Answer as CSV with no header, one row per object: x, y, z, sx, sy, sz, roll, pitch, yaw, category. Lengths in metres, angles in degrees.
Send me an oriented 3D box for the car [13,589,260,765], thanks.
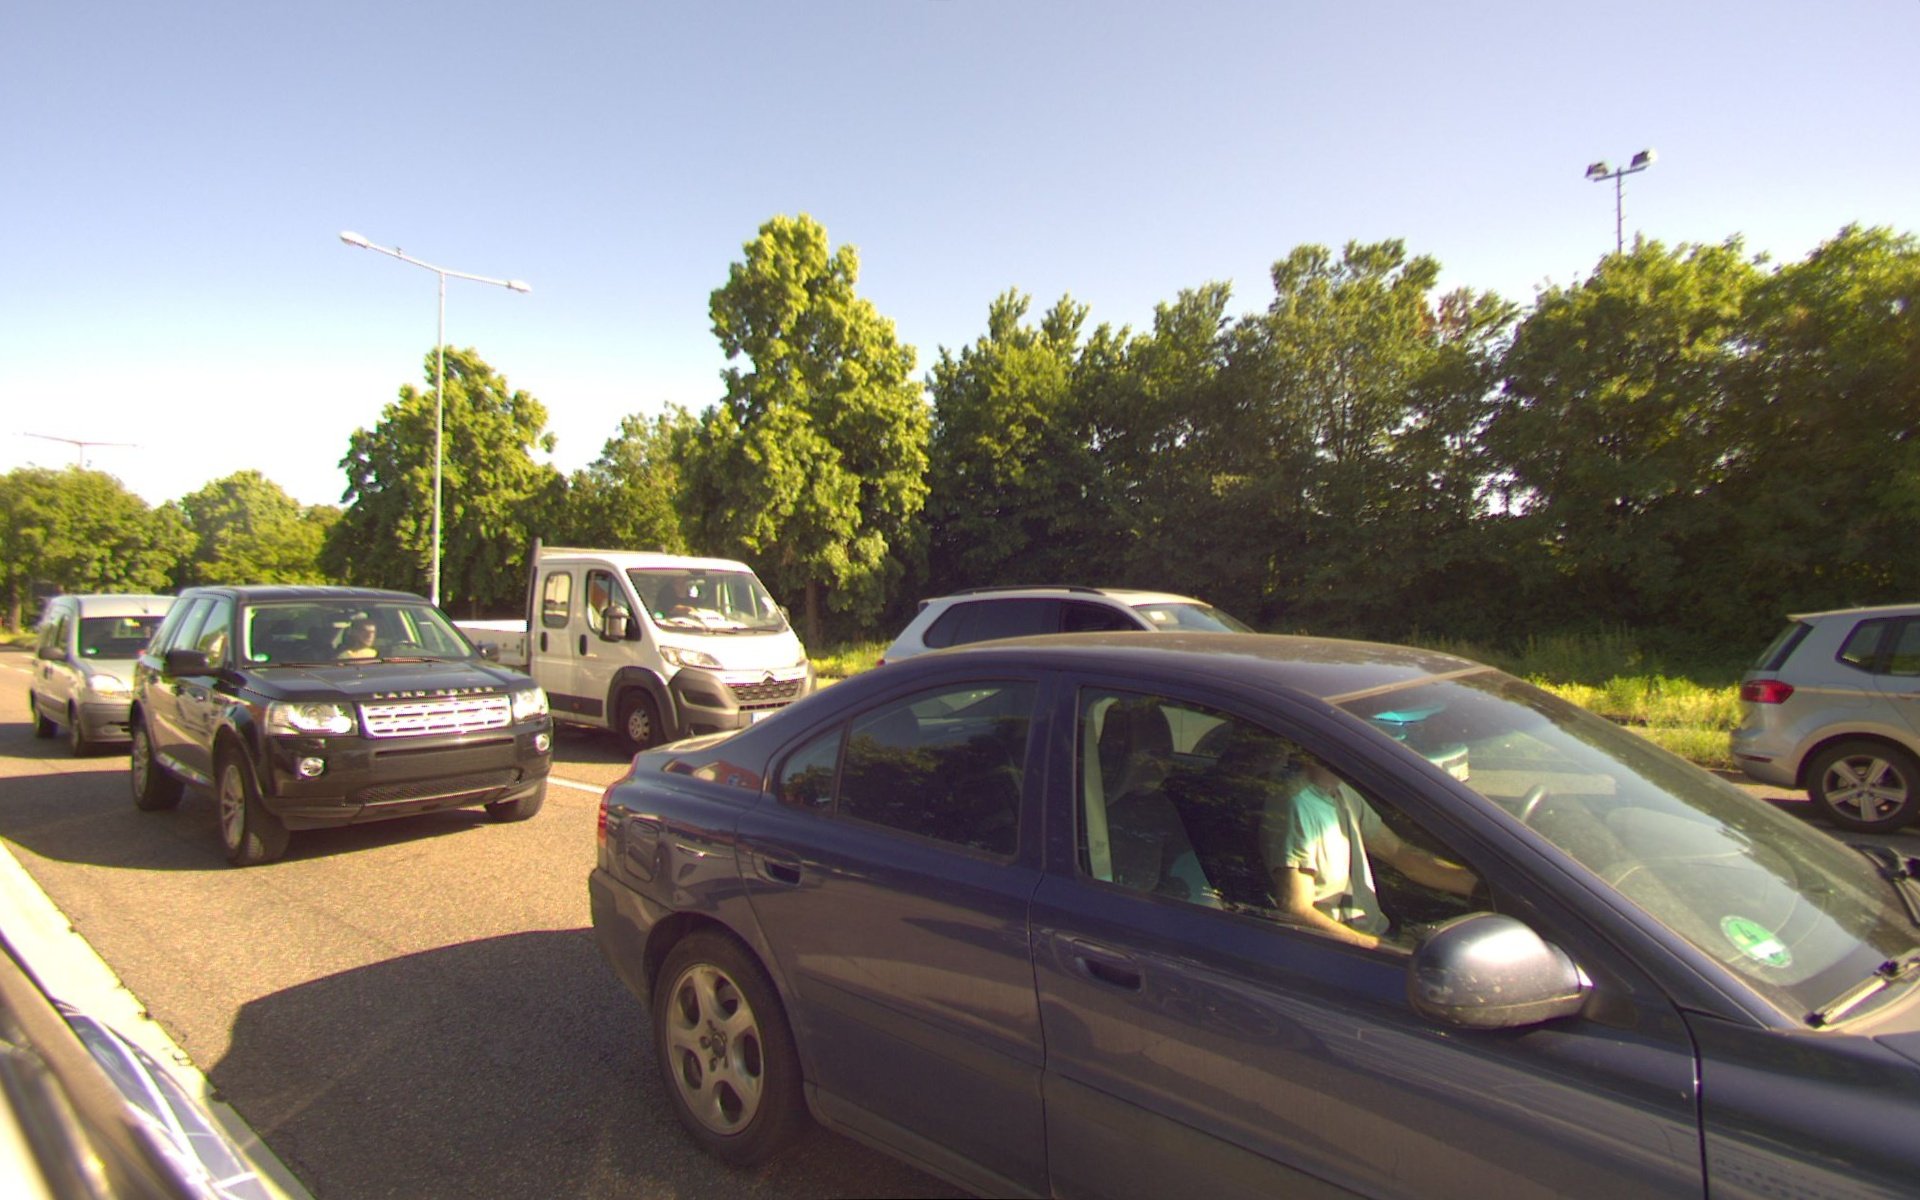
-10.051,0.800,12.227,4.384,1.765,1.611,-1,-1,41,car

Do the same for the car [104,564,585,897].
-4.694,0.705,7.425,4.384,1.744,1.793,-1,-1,41,car

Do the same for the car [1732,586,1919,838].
7.632,0.723,6.418,4.206,1.623,1.810,-2,-3,42,car

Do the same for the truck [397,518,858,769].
-4.412,0.441,12.462,6.838,2.337,2.158,-1,-1,40,truck

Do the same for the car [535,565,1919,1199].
0.893,0.695,2.429,4.454,1.463,1.757,-1,0,41,car

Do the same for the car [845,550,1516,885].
1.381,0.678,7.434,4.422,1.723,1.973,-2,-3,41,car

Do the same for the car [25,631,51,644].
-107.412,4.353,117.930,3.998,1.428,1.769,-2,-3,41,car

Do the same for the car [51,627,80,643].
-93.671,3.658,105.994,3.998,1.697,1.769,-2,-3,41,car
